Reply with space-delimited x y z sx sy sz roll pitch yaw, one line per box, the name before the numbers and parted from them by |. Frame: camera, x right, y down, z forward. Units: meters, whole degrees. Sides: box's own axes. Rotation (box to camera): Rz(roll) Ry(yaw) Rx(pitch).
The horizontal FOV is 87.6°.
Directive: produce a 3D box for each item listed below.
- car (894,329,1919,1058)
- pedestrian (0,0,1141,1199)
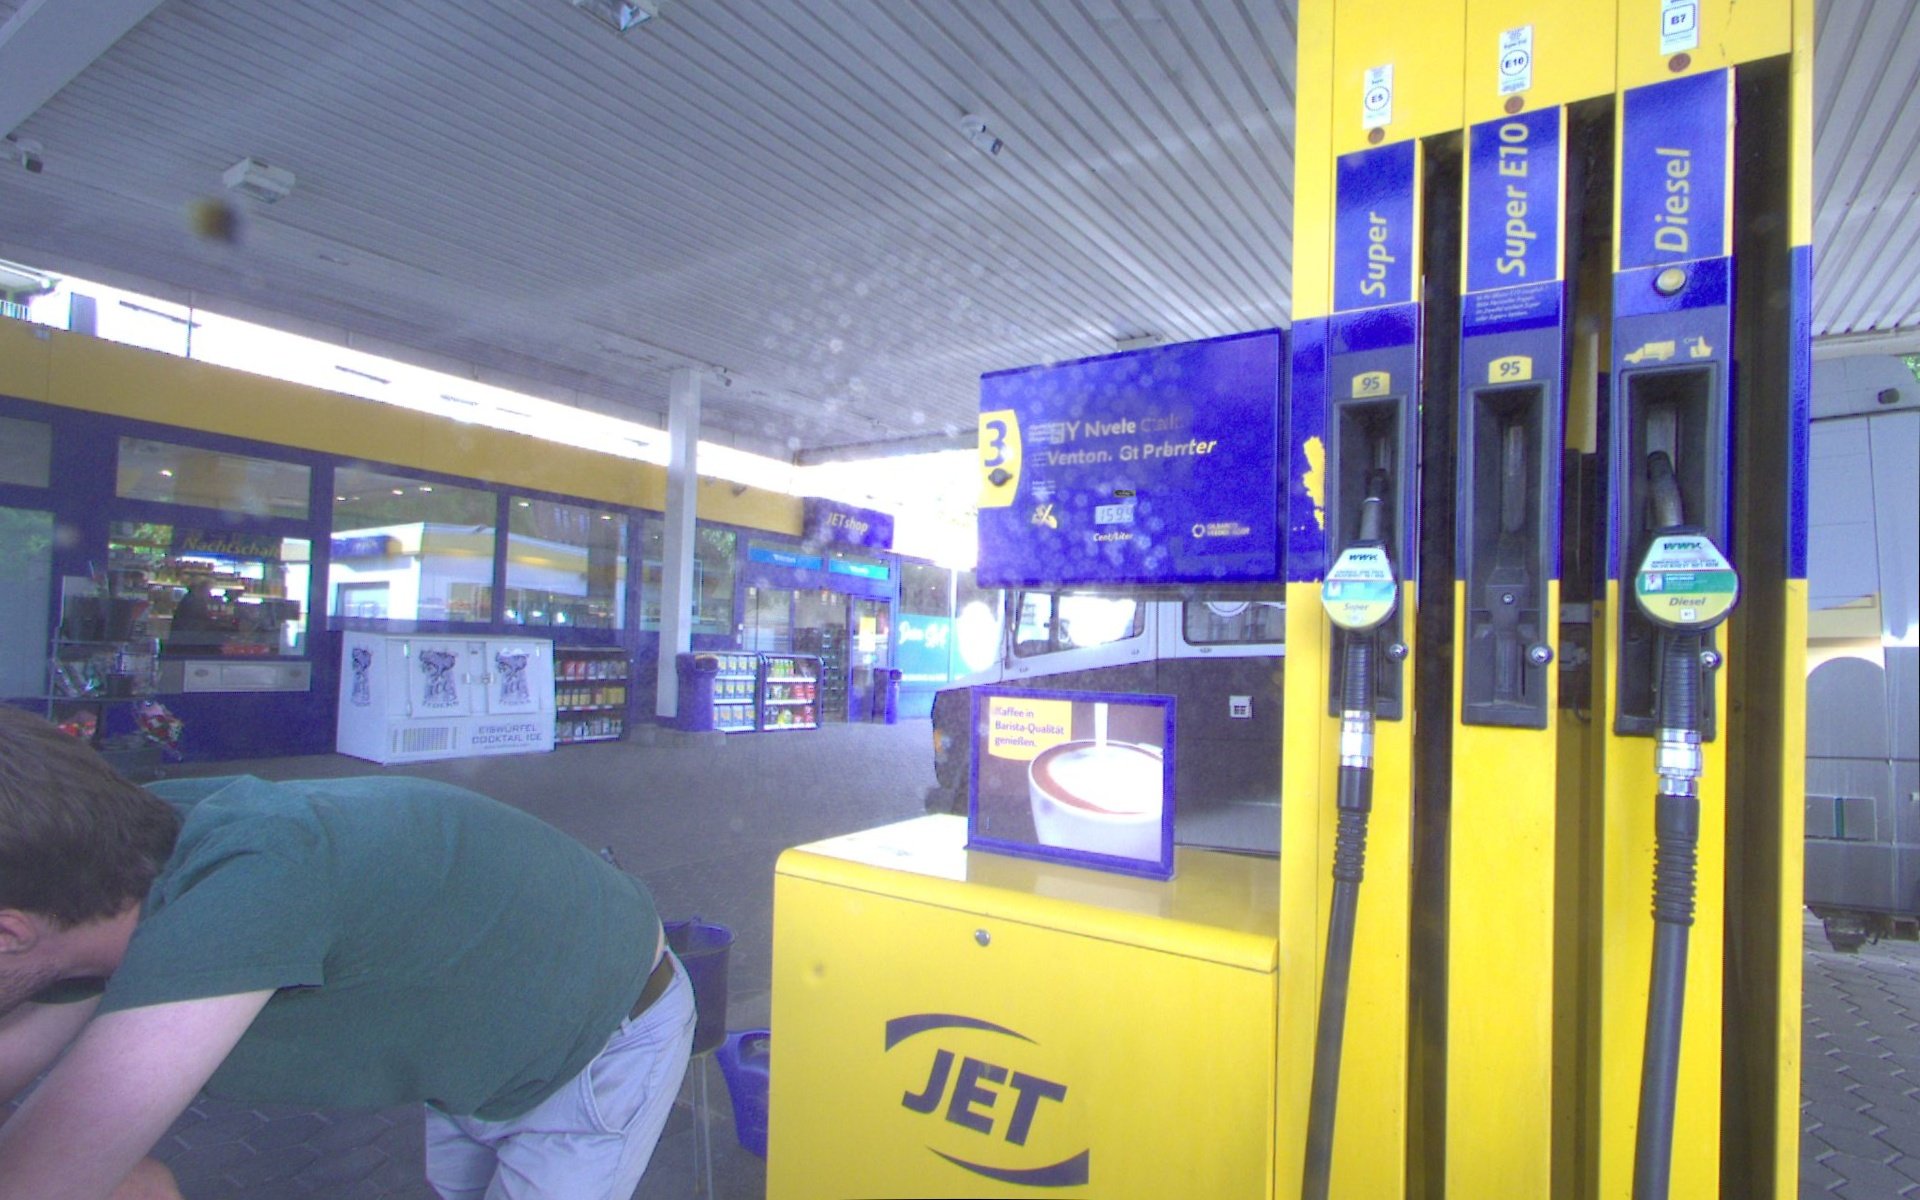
car | 2.362 0.430 6.002 5.271 2.759 2.193 -1 -3 34
pedestrian | -0.510 0.574 1.085 0.981 1.750 1.175 -2 -2 36
